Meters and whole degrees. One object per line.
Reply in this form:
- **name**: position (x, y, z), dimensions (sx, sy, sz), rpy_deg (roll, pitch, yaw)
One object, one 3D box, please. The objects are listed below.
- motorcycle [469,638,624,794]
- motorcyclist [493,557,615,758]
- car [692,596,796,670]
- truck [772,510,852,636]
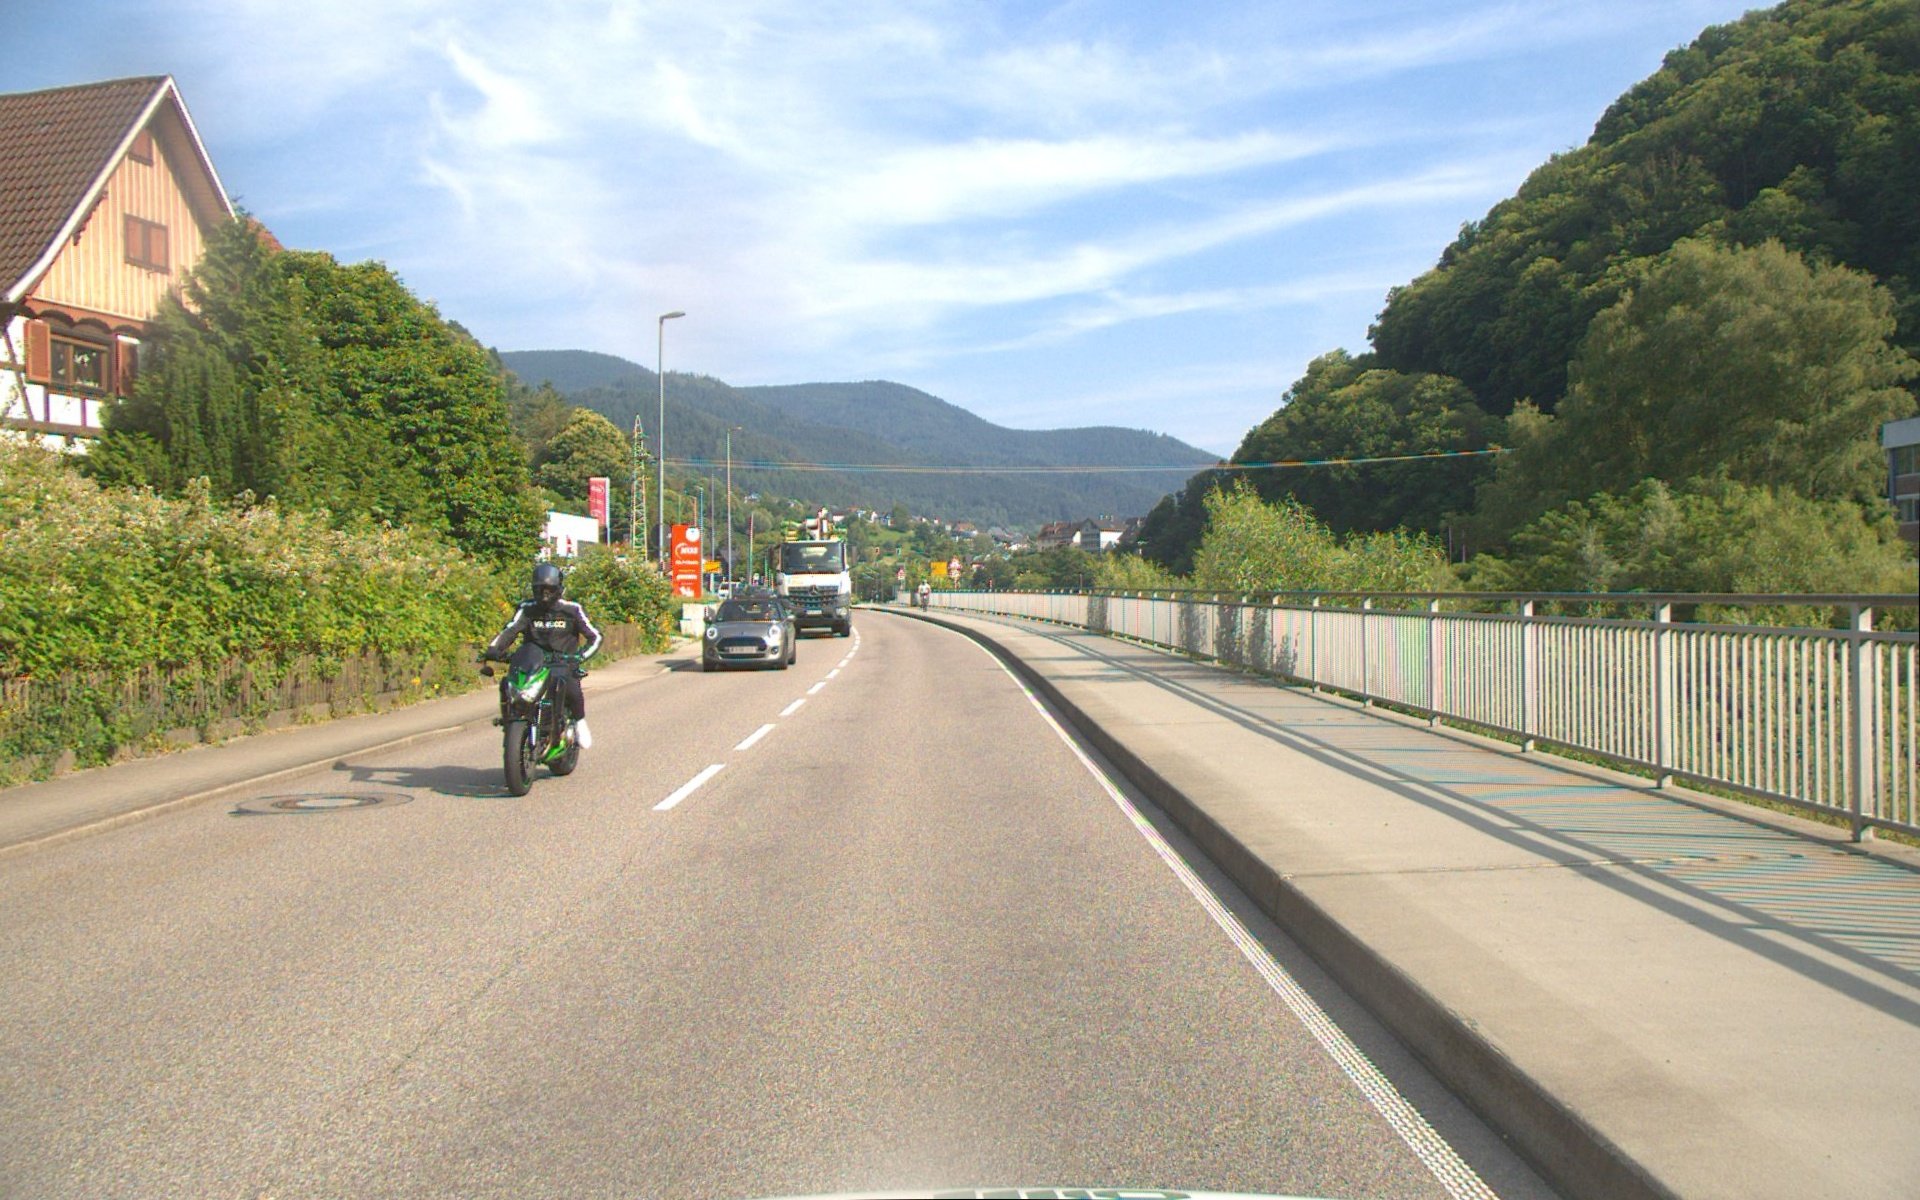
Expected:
- **motorcycle**: position (-3.264, 0.878, 13.256), dimensions (0.640, 1.086, 2.182), rpy_deg (-1, 0, 1)
- **motorcyclist**: position (-3.286, 0.458, 13.418), dimensions (0.808, 1.585, 0.628), rpy_deg (-1, -1, 2)
- **car**: position (-4.387, 0.648, 34.054), dimensions (1.679, 1.427, 3.999), rpy_deg (0, 0, -1)
- **truck**: position (-5.263, -0.871, 58.791), dimensions (2.528, 4.000, 11.293), rpy_deg (-1, 0, -5)
